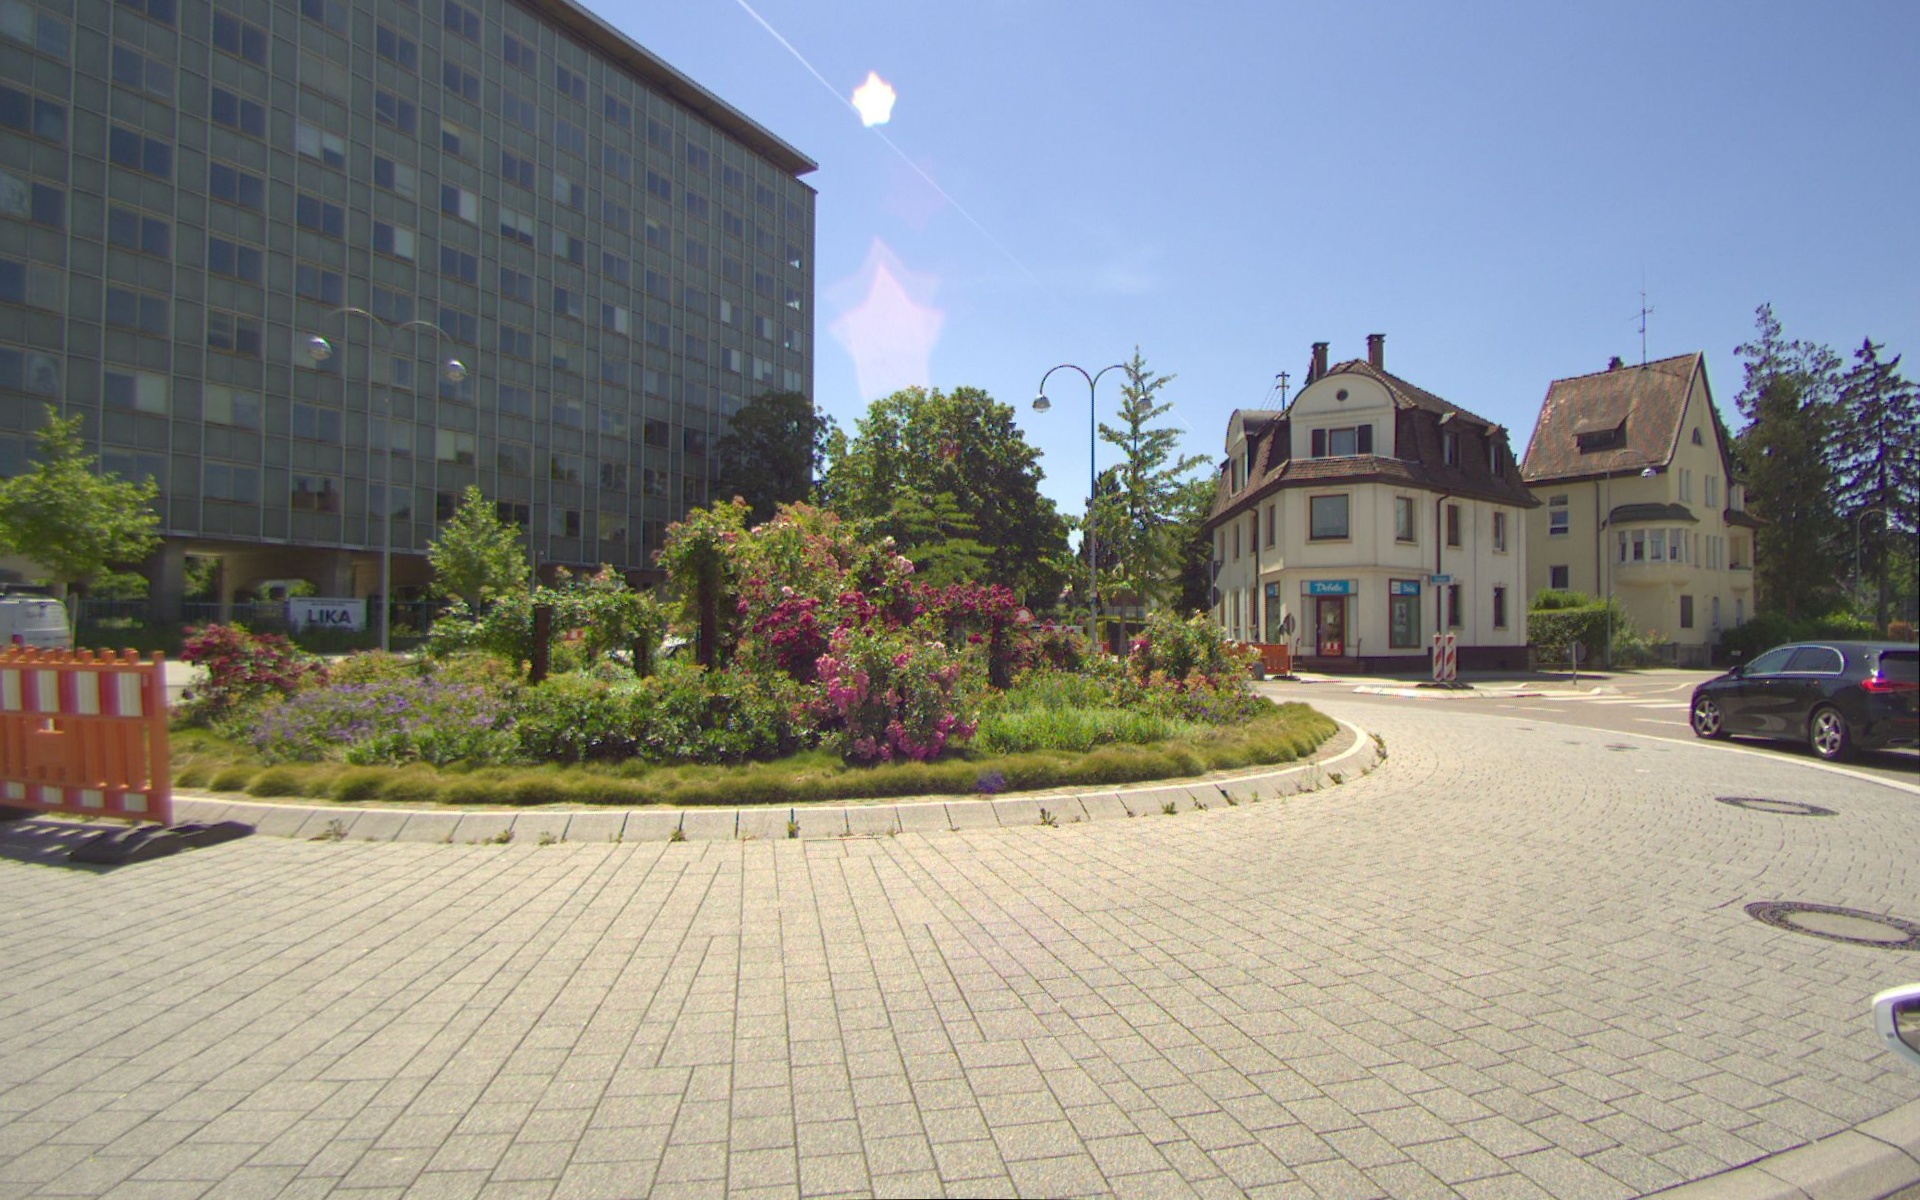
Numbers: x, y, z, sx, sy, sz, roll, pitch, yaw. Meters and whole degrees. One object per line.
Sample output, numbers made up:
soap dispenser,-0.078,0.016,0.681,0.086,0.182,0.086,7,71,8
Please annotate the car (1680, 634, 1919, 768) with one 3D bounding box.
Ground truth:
car,11.225,1.167,12.742,1.920,1.446,4.003,0,-2,12

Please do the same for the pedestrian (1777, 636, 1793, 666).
pedestrian,42.695,2.634,51.984,0.468,1.529,0.520,2,-2,-34

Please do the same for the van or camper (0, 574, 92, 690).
van or camper,-20.559,0.618,19.430,5.324,2.200,1.993,0,0,-16

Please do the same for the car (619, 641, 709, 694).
car,-9.689,2.252,33.185,1.755,1.617,3.923,-1,-4,1
